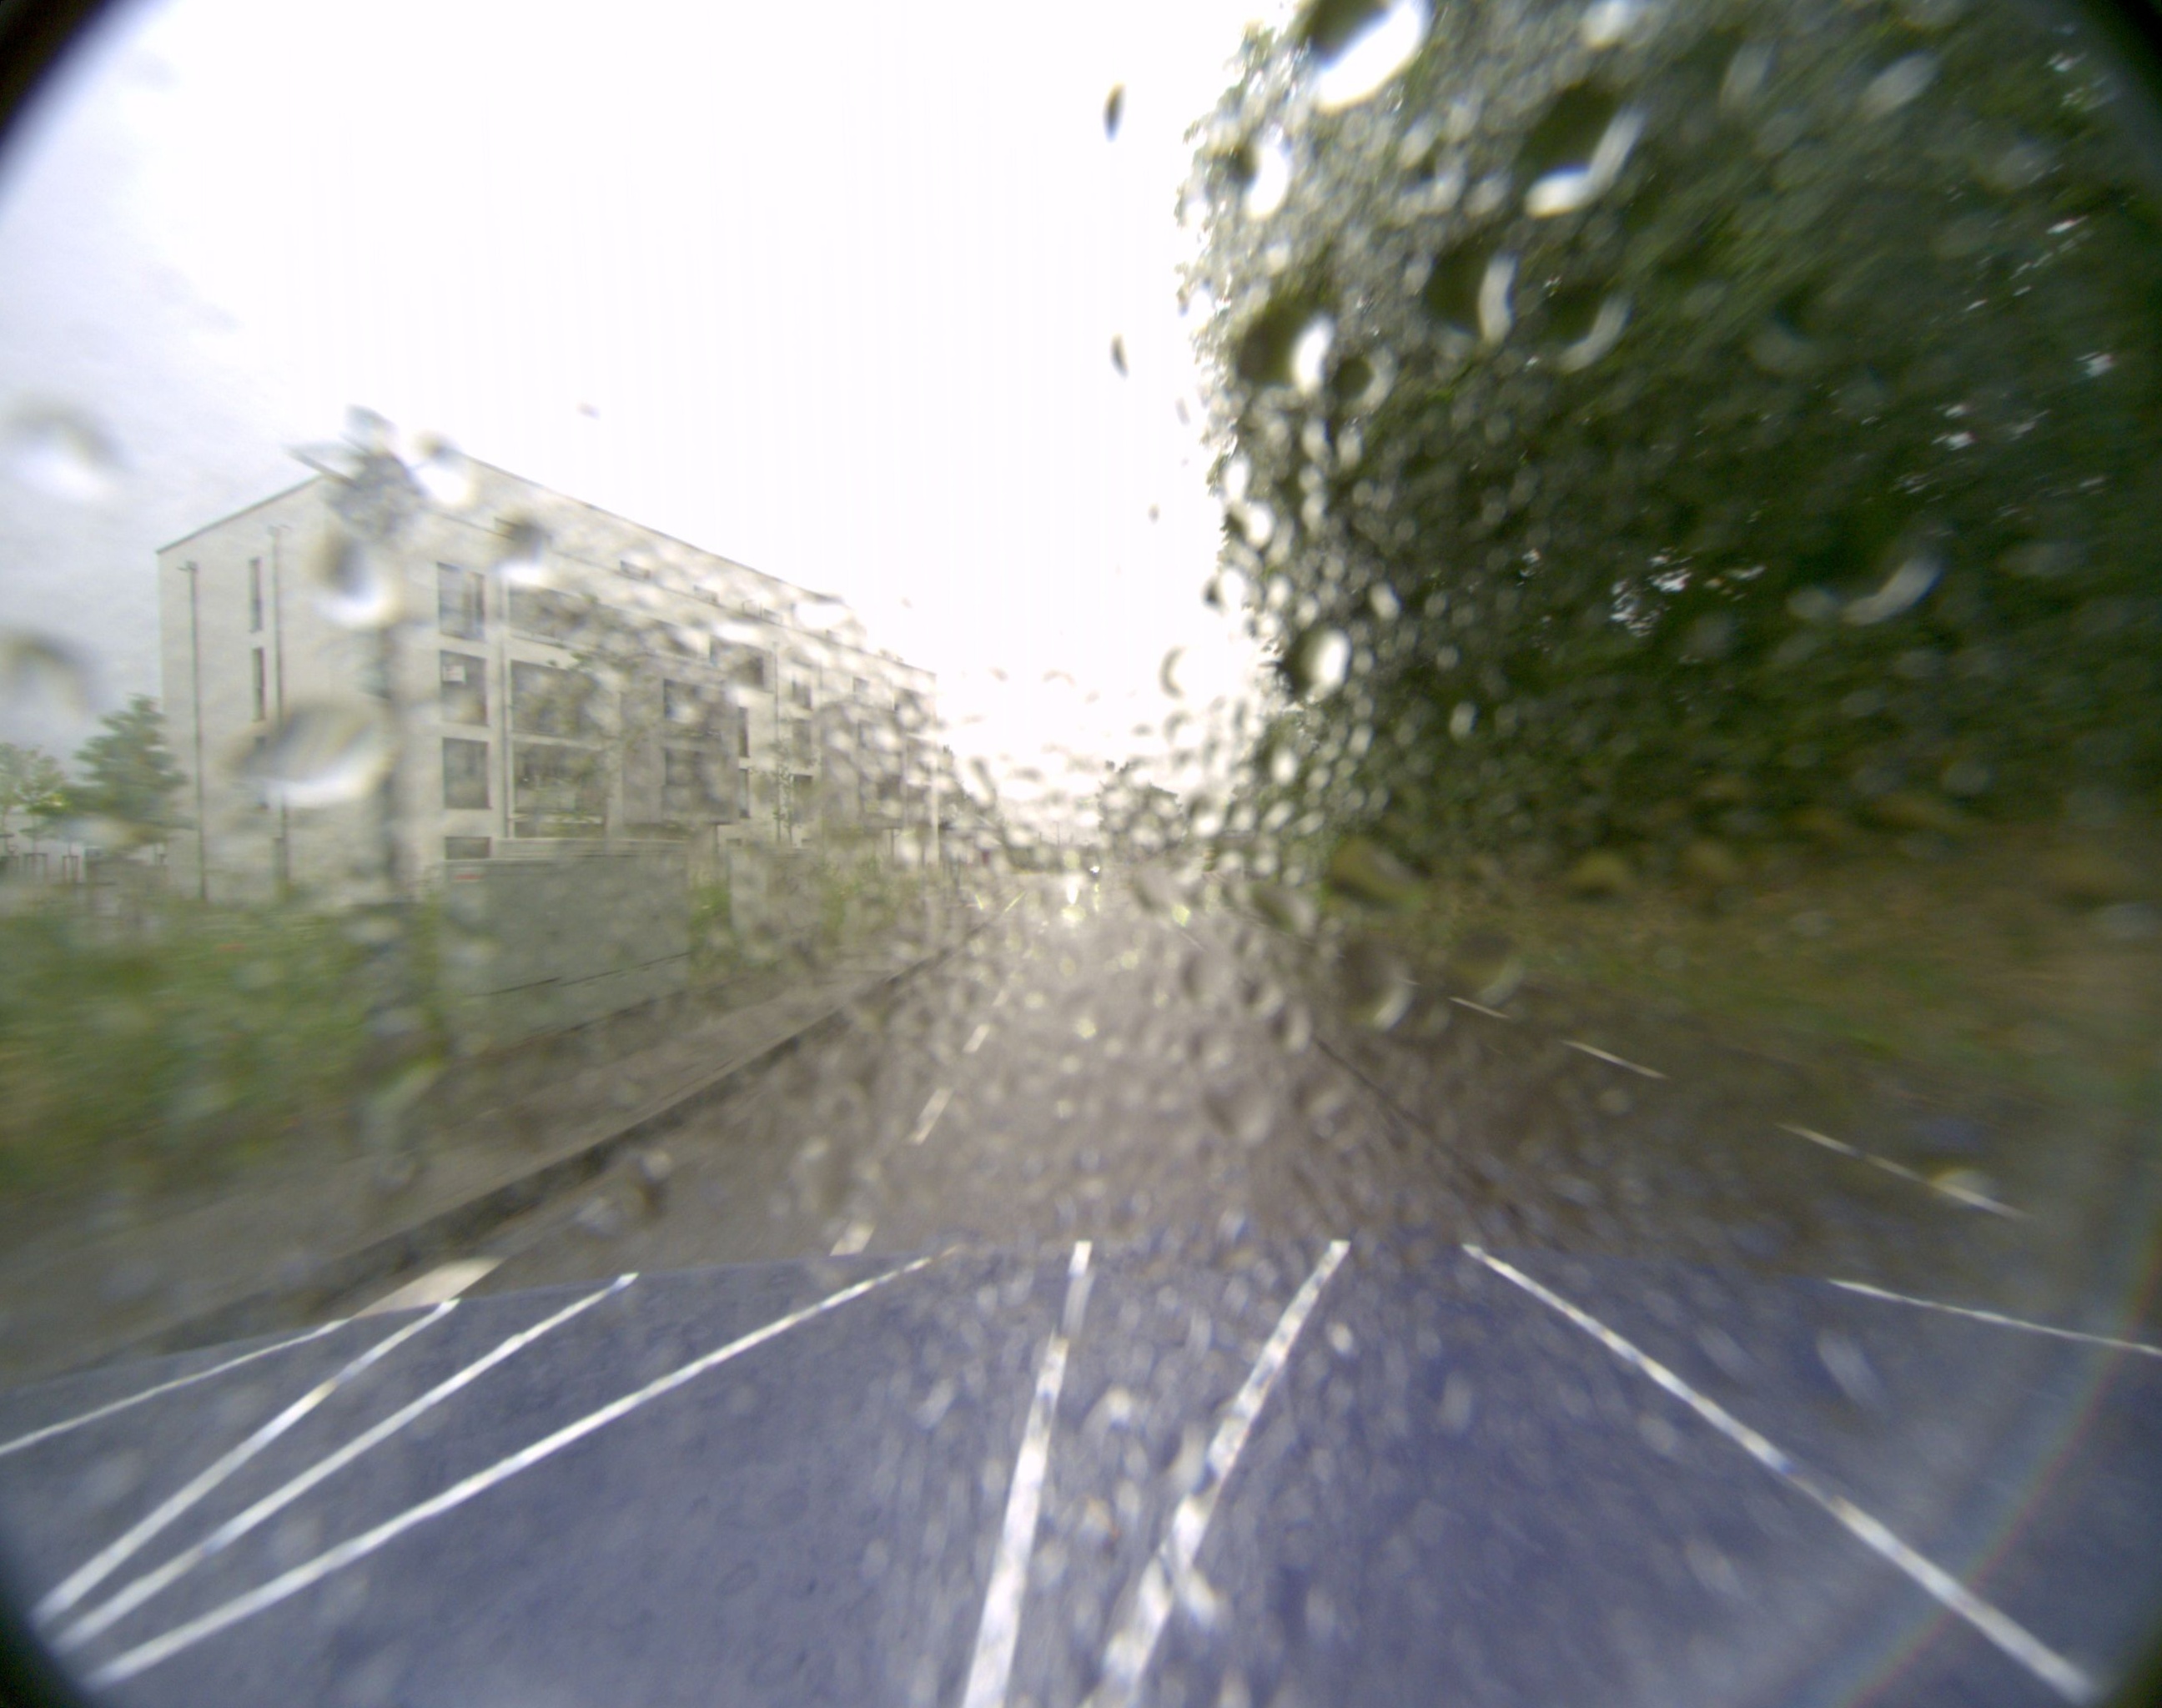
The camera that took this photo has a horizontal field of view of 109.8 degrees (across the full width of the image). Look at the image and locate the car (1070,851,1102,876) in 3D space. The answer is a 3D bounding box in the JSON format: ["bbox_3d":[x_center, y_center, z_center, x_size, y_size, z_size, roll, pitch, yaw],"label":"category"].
[{"bbox_3d":[0.344,0.608,46.375,1.764,1.477,3.792,0,-1,4],"label":"car"}]

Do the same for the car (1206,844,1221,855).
[{"bbox_3d":[16.733,-0.604,95.675,1.574,1.402,3.477,1,1,14],"label":"car"}]
